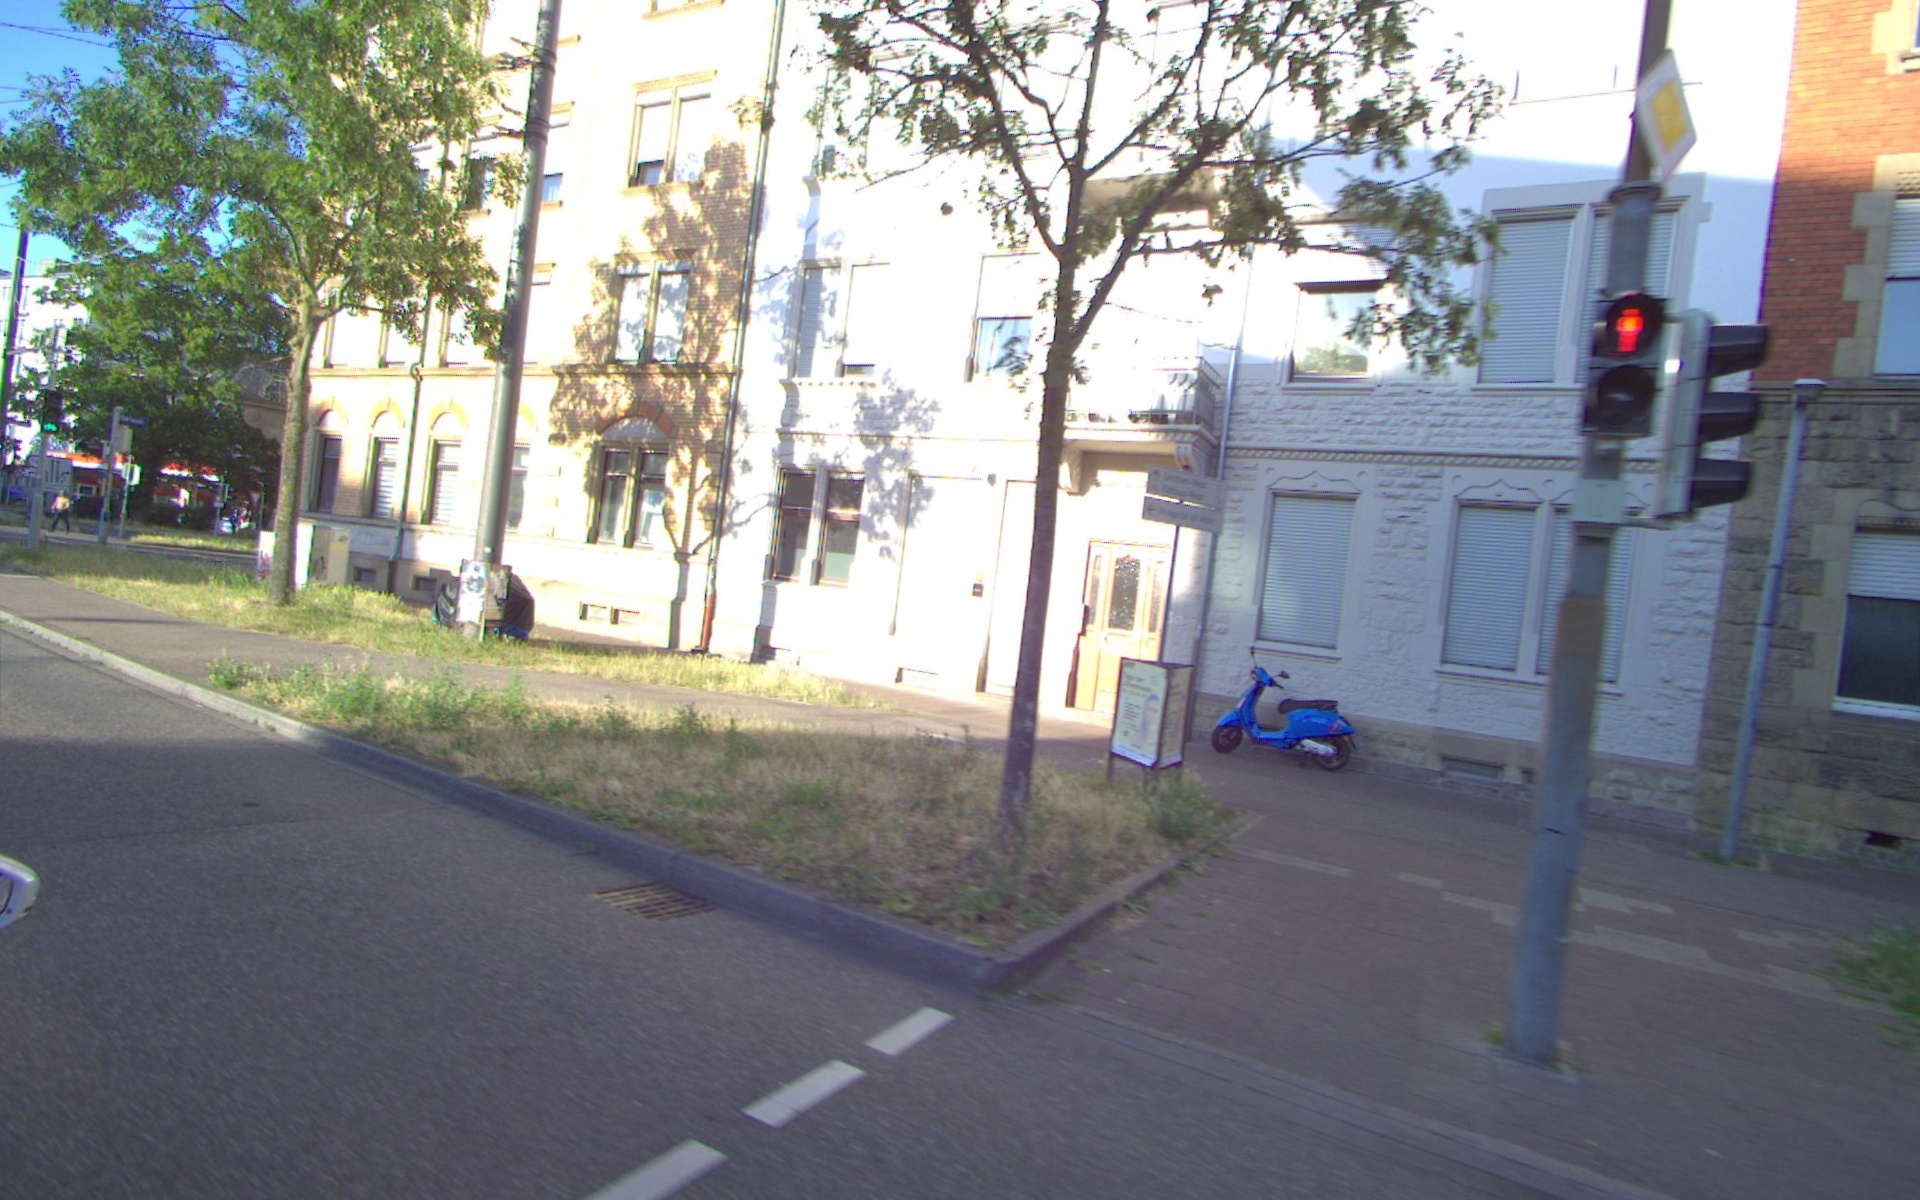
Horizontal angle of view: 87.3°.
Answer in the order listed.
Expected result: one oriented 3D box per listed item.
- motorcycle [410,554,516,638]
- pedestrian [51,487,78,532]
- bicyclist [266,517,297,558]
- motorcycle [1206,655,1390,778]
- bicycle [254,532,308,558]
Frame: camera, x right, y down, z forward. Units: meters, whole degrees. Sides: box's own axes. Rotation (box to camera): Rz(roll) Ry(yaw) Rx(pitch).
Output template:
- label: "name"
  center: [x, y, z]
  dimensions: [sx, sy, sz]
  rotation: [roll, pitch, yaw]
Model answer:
- label: "motorcycle"
  center: [-7.513, -0.070, 15.175]
  dimensions: [1.717, 1.056, 0.604]
  rotation: [7, 0, 36]
- label: "pedestrian"
  center: [-34.868, -3.524, 39.170]
  dimensions: [0.689, 1.649, 0.552]
  rotation: [8, 1, 38]
- label: "bicyclist"
  center: [-28.527, -2.627, 42.289]
  dimensions: [0.625, 1.603, 0.696]
  rotation: [7, 1, 20]
- label: "motorcycle"
  center: [4.297, 1.454, 12.850]
  dimensions: [2.036, 1.228, 0.555]
  rotation: [7, -1, 28]
- label: "bicycle"
  center: [-28.545, -2.294, 42.316]
  dimensions: [0.611, 0.839, 1.815]
  rotation: [7, 0, 20]
